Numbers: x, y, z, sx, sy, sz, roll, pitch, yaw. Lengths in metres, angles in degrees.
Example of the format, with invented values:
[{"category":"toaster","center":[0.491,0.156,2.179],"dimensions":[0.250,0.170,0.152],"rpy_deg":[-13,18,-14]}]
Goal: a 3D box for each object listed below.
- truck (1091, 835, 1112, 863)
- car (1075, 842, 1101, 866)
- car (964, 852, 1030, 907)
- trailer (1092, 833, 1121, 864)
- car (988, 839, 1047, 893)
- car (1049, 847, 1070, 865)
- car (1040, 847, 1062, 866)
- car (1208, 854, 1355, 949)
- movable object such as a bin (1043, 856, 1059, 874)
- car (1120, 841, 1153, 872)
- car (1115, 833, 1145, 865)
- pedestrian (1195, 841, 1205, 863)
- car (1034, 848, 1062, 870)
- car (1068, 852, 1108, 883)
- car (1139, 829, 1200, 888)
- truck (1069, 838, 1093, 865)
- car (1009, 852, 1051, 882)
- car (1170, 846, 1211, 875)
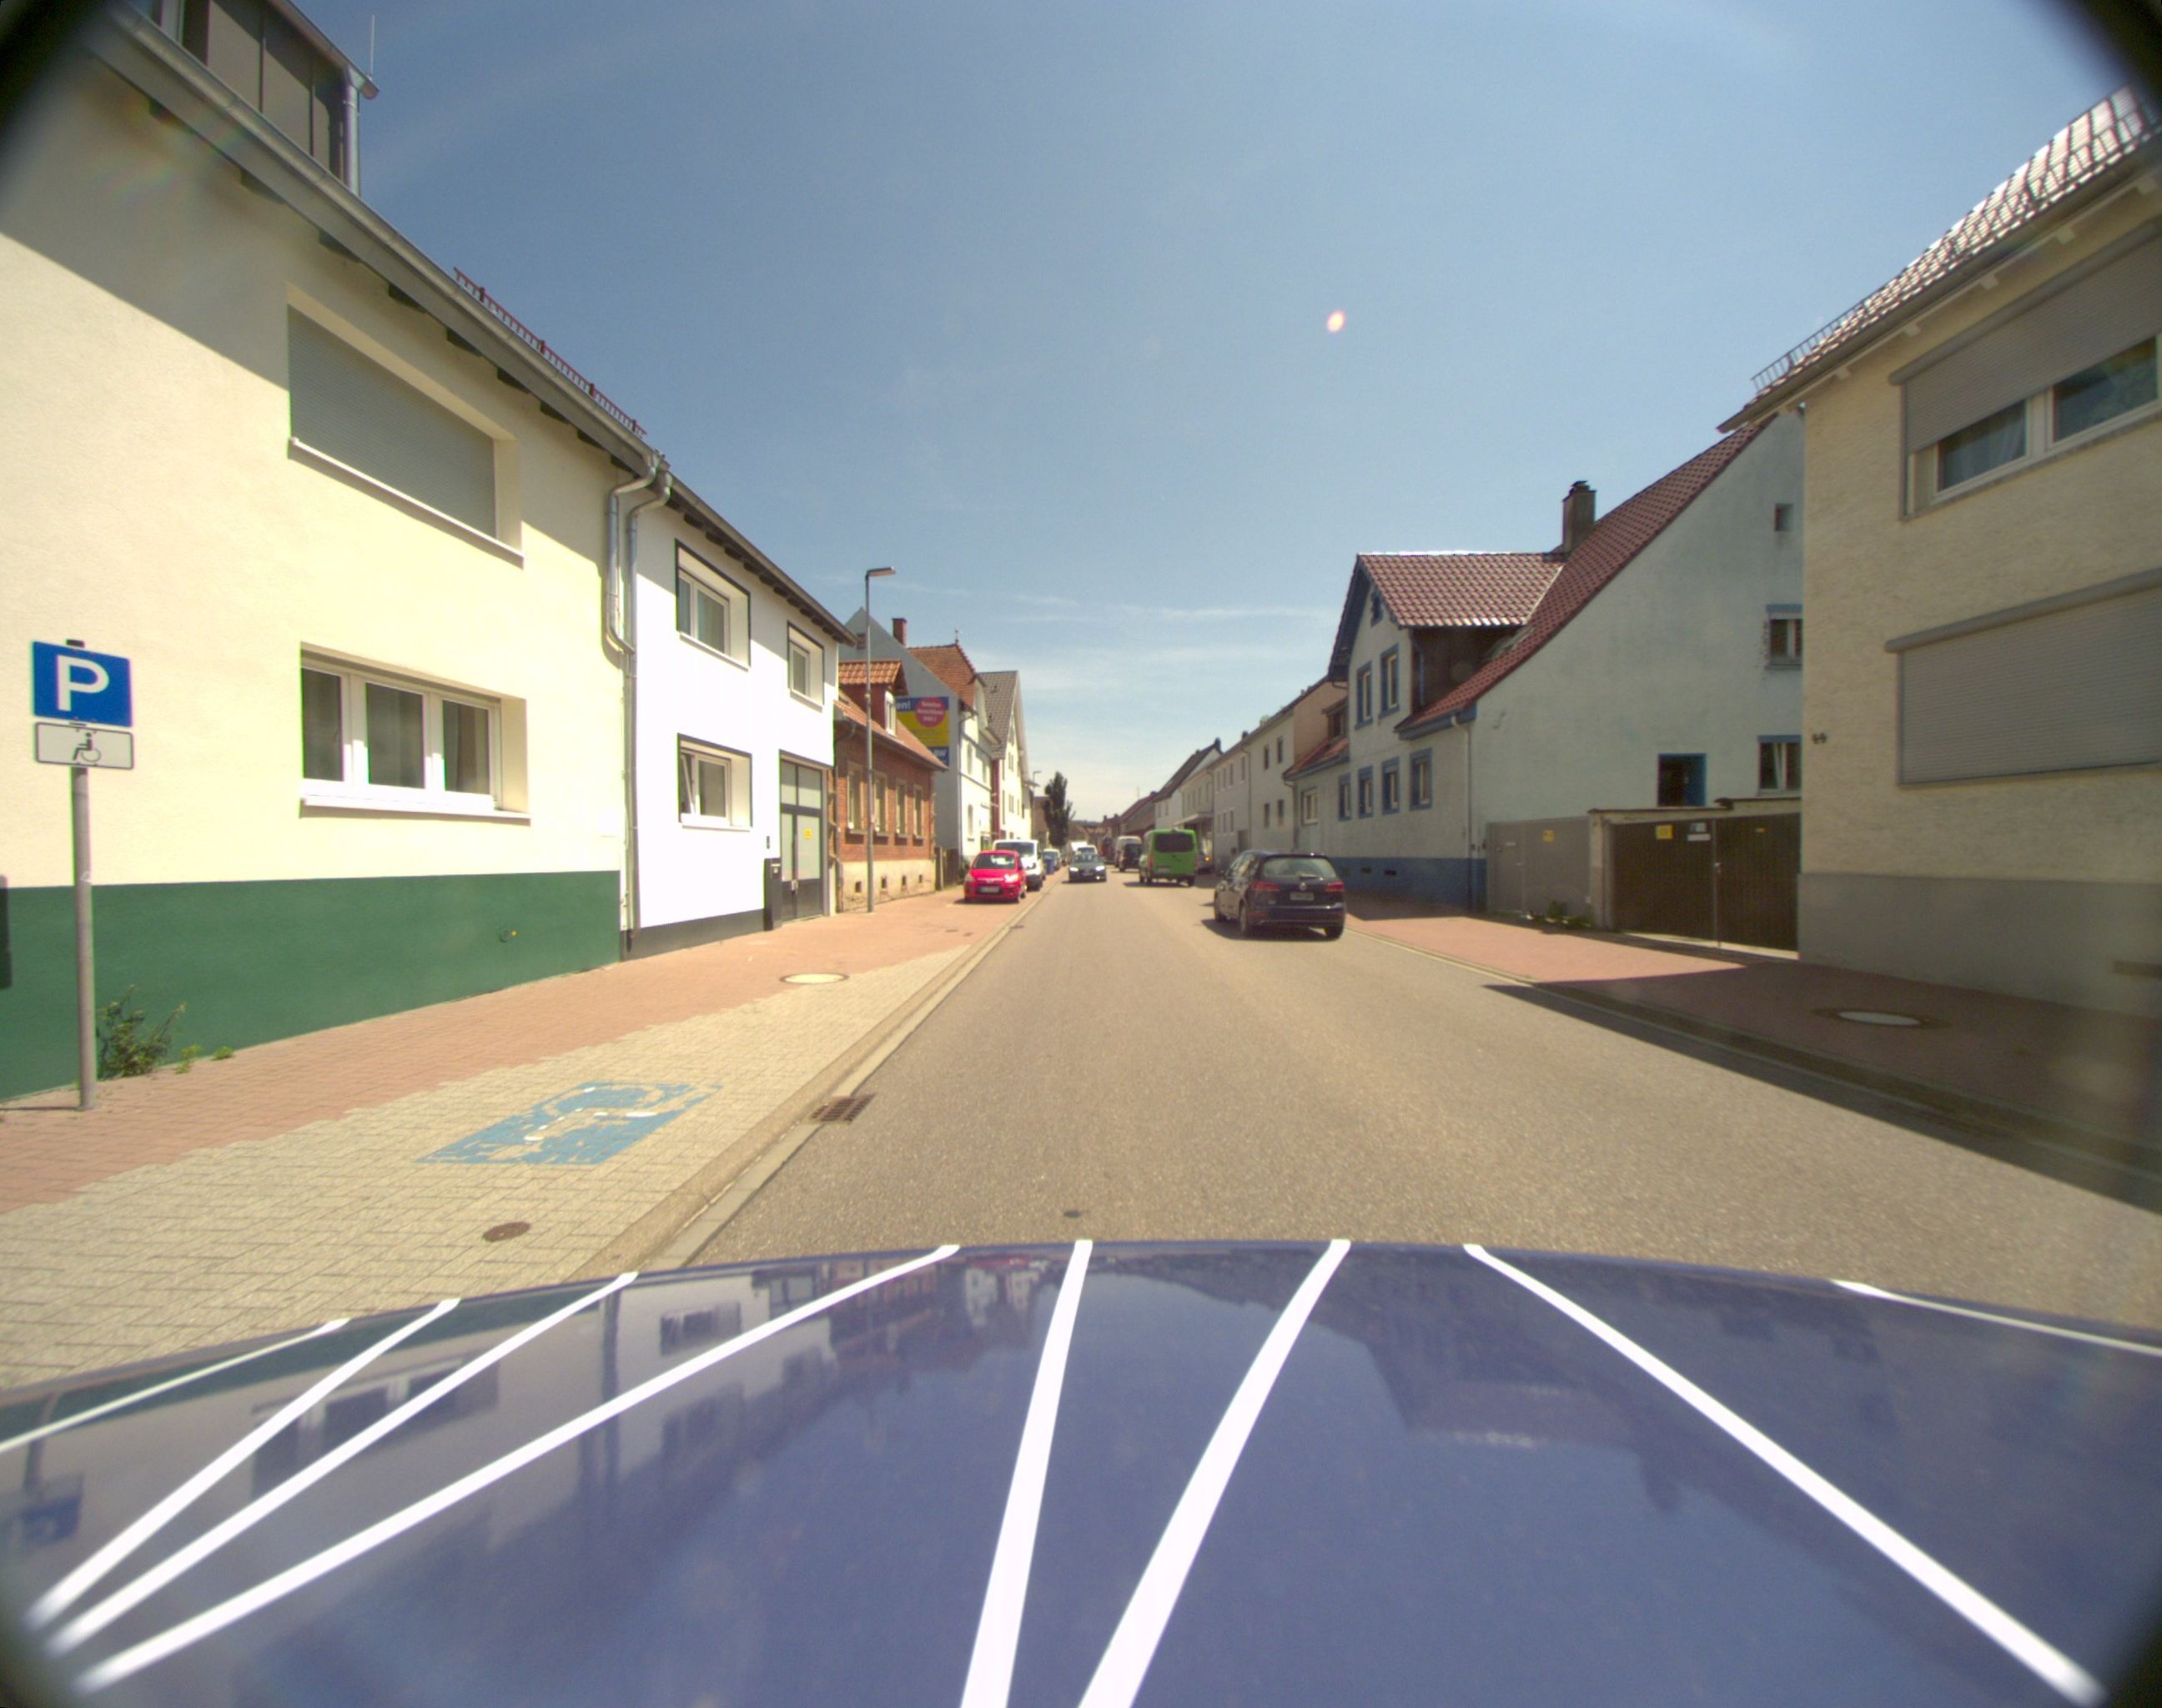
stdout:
[{"category":"truck","center":[2.964,-0.800,112.390],"dimensions":[2.626,3.962,6.849],"rpy_deg":[1,1,-3]},{"category":"car","center":[0.574,0.000,65.252],"dimensions":[2.079,1.949,5.518],"rpy_deg":[-1,0,1]},{"category":"car","center":[-2.483,0.710,23.245],"dimensions":[1.614,1.519,3.676],"rpy_deg":[0,0,0]},{"category":"trailer","center":[3.361,-0.769,104.862],"dimensions":[2.638,3.956,15.691],"rpy_deg":[1,1,-3]},{"category":"car","center":[-2.409,0.405,29.940],"dimensions":[1.951,1.959,4.784],"rpy_deg":[0,0,-1]},{"category":"car","center":[-1.985,0.194,70.445],"dimensions":[1.807,1.604,4.548],"rpy_deg":[1,0,0]},{"category":"car","center":[-2.455,0.204,62.882],"dimensions":[1.611,1.513,3.544],"rpy_deg":[2,1,0]},{"category":"car","center":[3.666,0.785,14.646],"dimensions":[1.769,1.527,4.078],"rpy_deg":[1,0,0]},{"category":"movable object such as a bin","center":[-1.876,0.670,47.552],"dimensions":[0.723,1.067,0.973],"rpy_deg":[1,1,17]},{"category":"car","center":[3.661,0.145,51.123],"dimensions":[1.886,1.932,5.117],"rpy_deg":[0,1,0]},{"category":"car","center":[4.039,-0.409,63.676],"dimensions":[2.130,2.527,5.460],"rpy_deg":[0,0,-1]},{"category":"pedestrian","center":[9.045,-0.166,57.802],"dimensions":[0.626,1.675,0.771],"rpy_deg":[-2,1,0]},{"category":"car","center":[-2.392,0.330,55.990],"dimensions":[1.704,1.438,4.836],"rpy_deg":[2,1,1]},{"category":"car","center":[0.335,0.628,36.929],"dimensions":[1.786,1.364,3.606],"rpy_deg":[-1,0,0]},{"category":"car","center":[3.771,0.161,33.353],"dimensions":[2.056,2.340,6.081],"rpy_deg":[0,0,1]},{"category":"truck","center":[-0.068,-0.388,101.964],"dimensions":[2.868,3.492,8.316],"rpy_deg":[0,0,-3]},{"category":"car","center":[-2.535,0.614,38.771],"dimensions":[1.774,1.457,4.577],"rpy_deg":[0,0,1]},{"category":"car","center":[6.543,0.354,45.707],"dimensions":[1.812,1.548,4.564],"rpy_deg":[-3,1,1]}]
